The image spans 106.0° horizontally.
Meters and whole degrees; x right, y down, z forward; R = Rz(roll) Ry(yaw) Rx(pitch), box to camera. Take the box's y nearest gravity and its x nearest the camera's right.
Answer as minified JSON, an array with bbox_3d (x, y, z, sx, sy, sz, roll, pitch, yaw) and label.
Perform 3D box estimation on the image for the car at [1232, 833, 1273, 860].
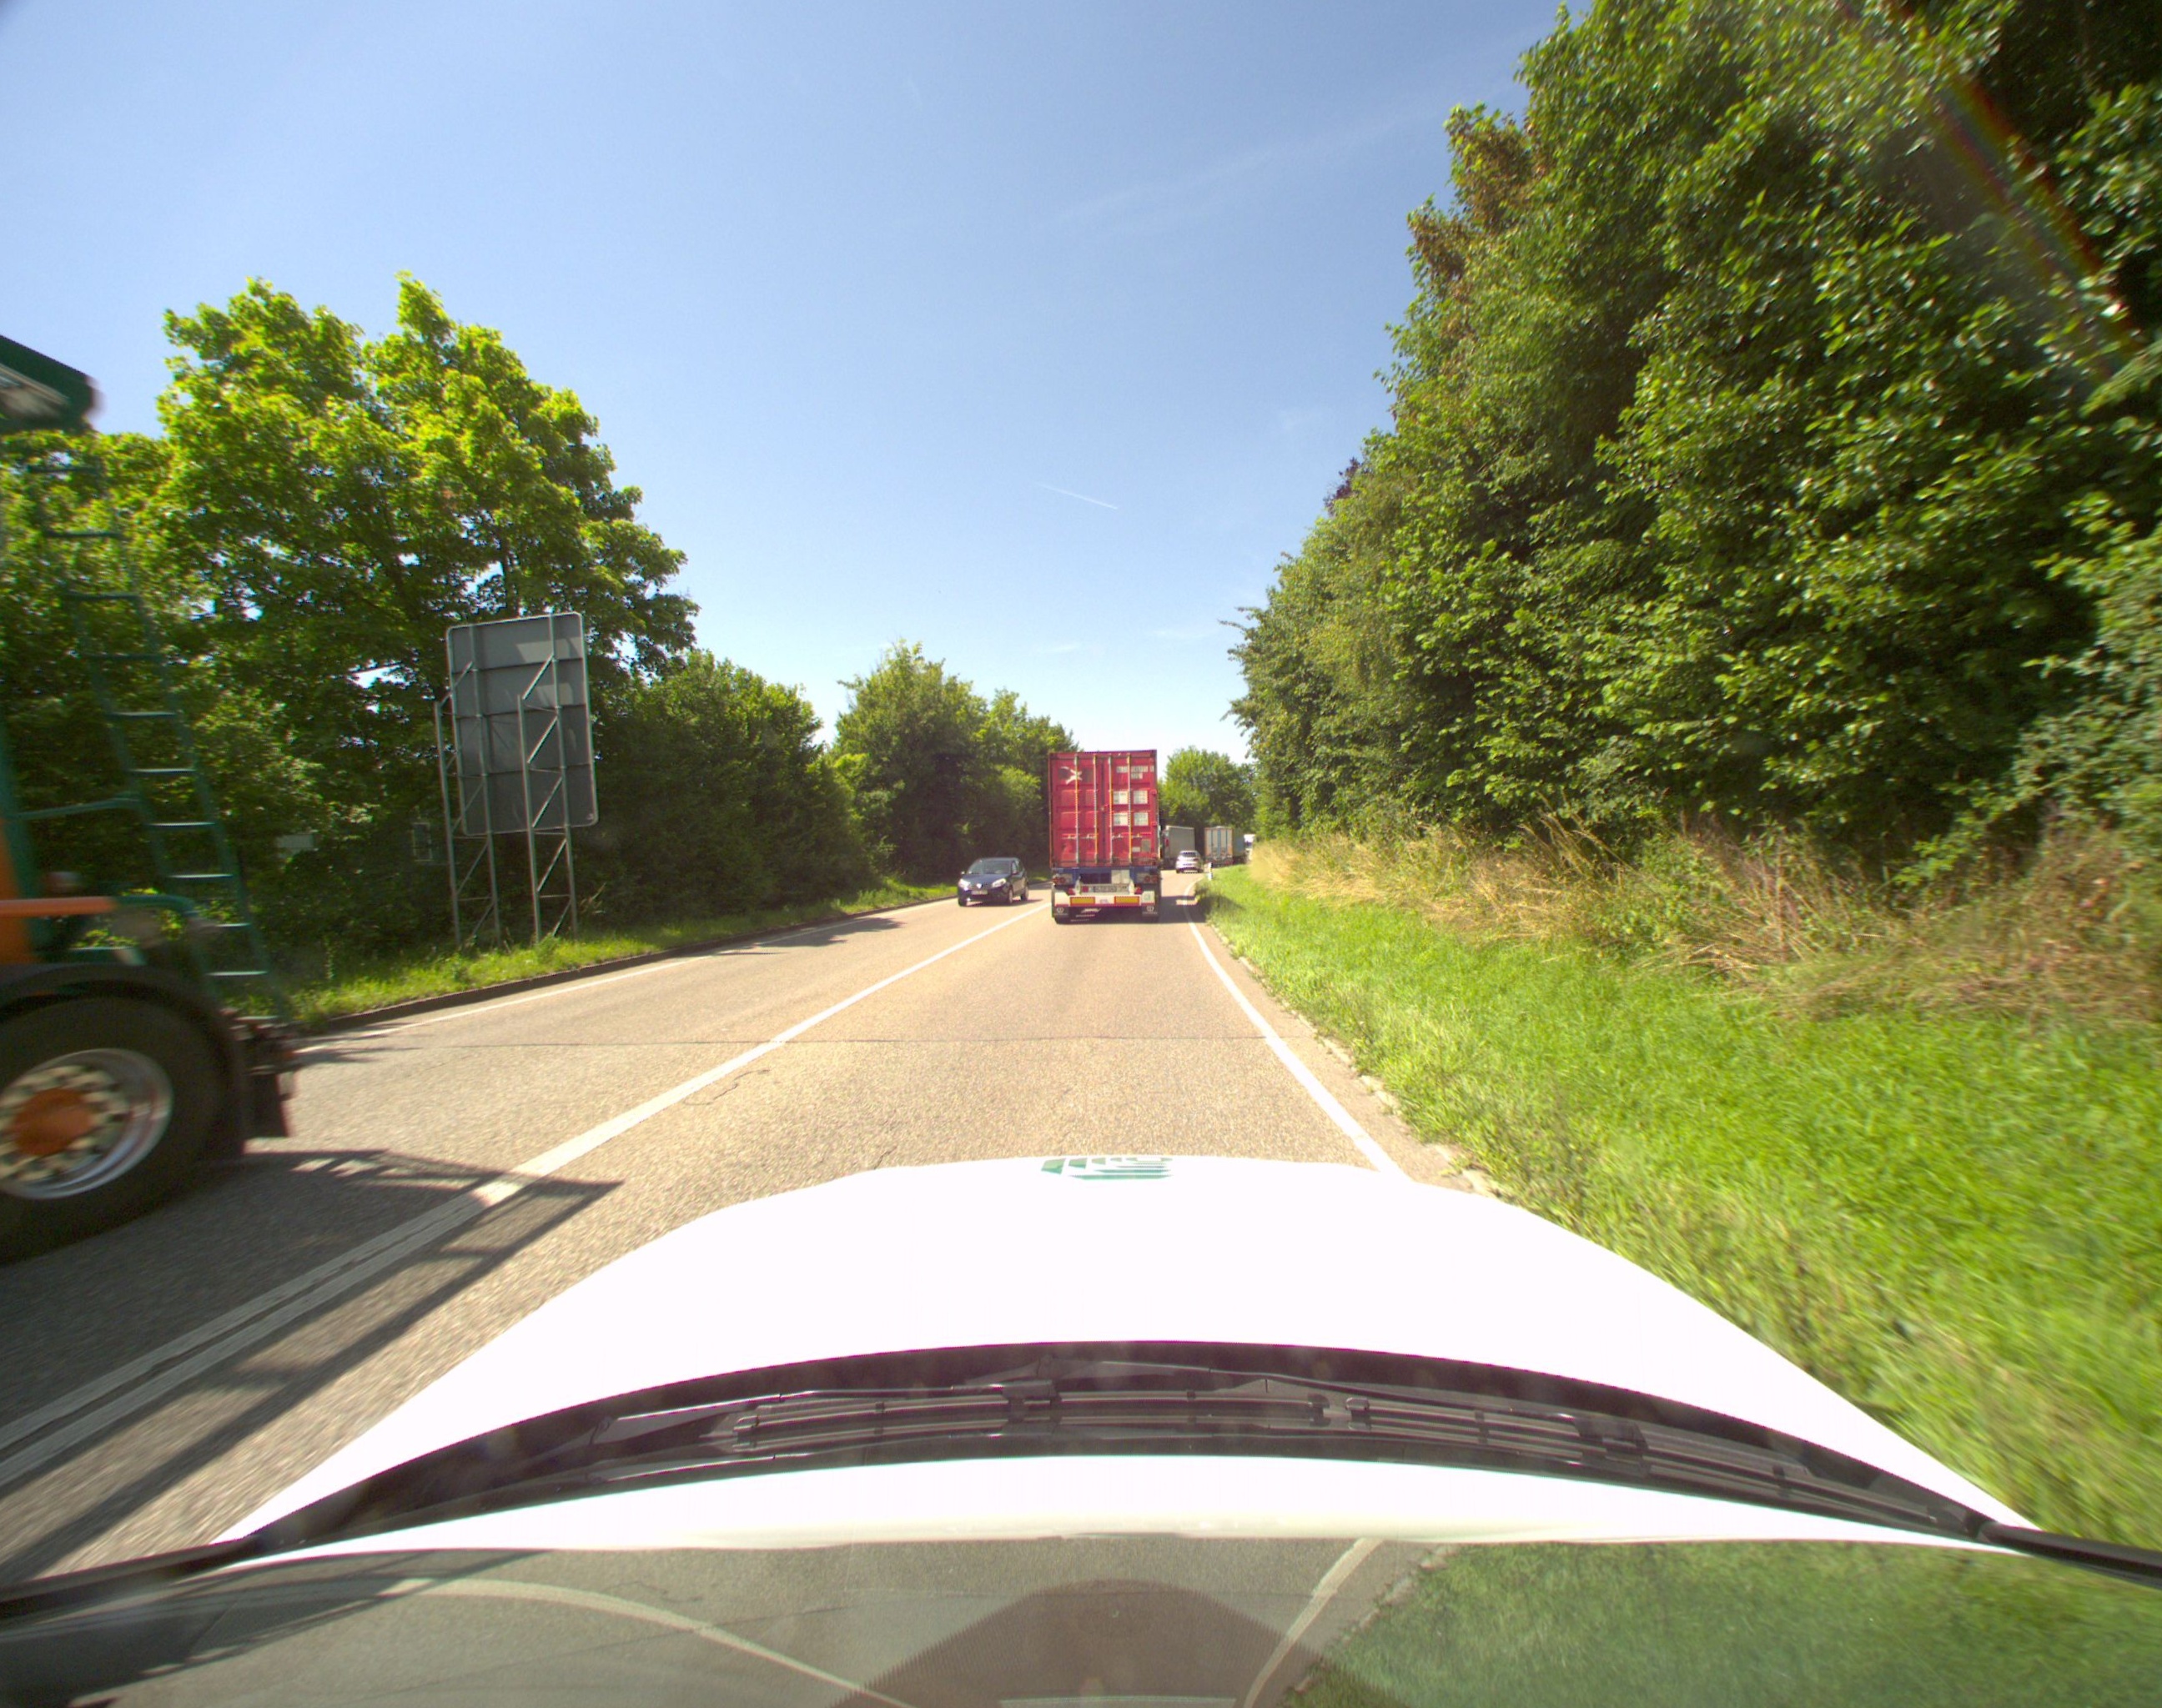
[{"bbox_3d":[26.971,-1.177,127.604,3.235,3.873,12.821,-2,0,26],"label":"car"}]

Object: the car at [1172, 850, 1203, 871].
[{"bbox_3d":[8.076,0.496,61.720,1.819,1.433,4.015,-3,-1,14],"label":"car"}]

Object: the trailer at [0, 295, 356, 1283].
[{"bbox_3d":[-5.641,-0.243,0.166,2.566,3.819,8.923,-1,0,3],"label":"trailer"}]

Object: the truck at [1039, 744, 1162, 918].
[{"bbox_3d":[1.077,-0.456,24.671,2.634,3.806,13.380,-1,0,6],"label":"truck"}]

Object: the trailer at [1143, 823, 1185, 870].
[{"bbox_3d":[8.078,-0.651,78.168,2.903,4.183,11.299,-1,0,11],"label":"trailer"}]

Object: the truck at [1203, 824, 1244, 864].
[{"bbox_3d":[14.664,-0.985,83.016,2.900,3.717,13.412,-2,0,15],"label":"truck"}]

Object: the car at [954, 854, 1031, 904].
[{"bbox_3d":[-2.857,0.771,27.173,1.675,1.529,4.077,-1,0,6],"label":"car"}]
